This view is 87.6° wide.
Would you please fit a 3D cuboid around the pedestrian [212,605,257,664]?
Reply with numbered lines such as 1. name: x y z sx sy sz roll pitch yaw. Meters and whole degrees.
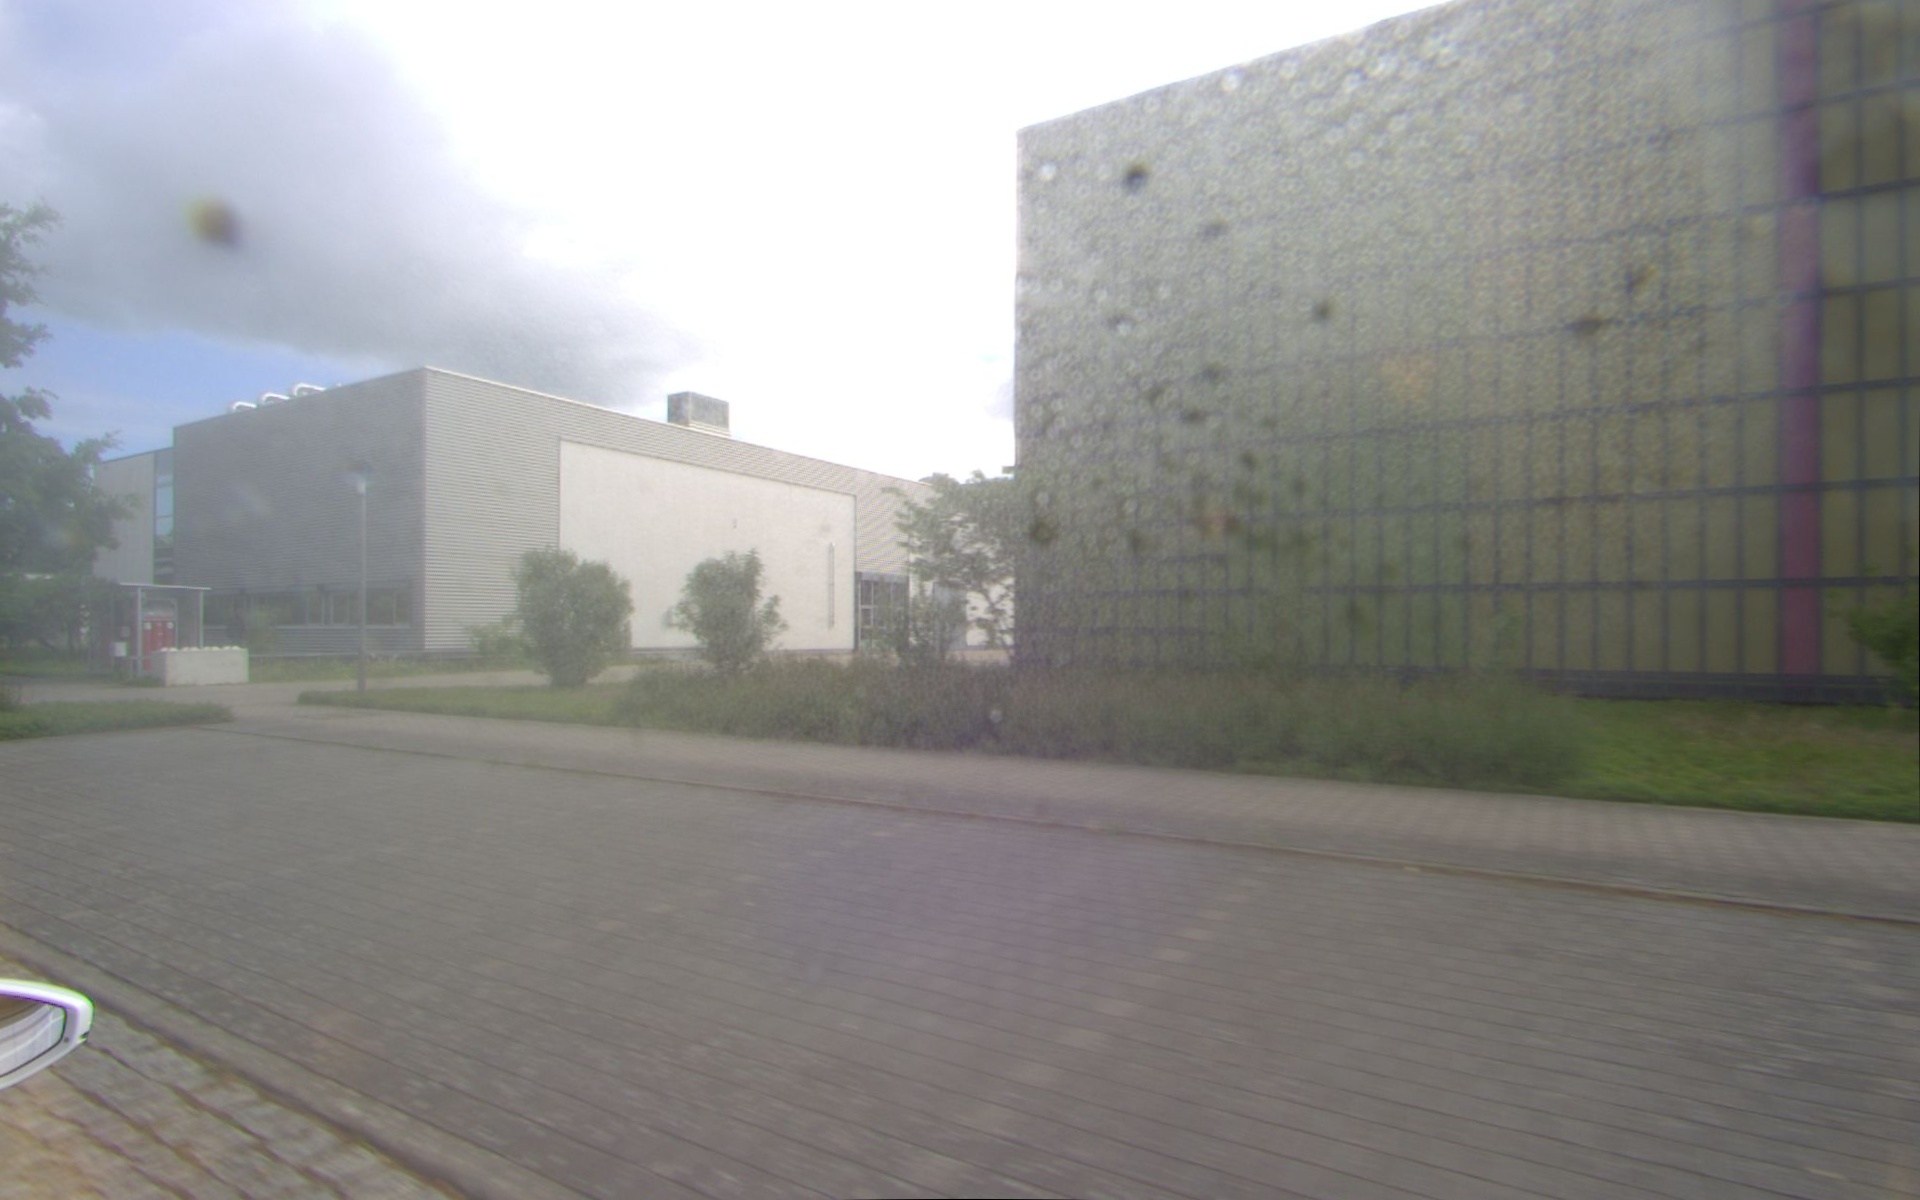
1. pedestrian: -24.532 1.176 33.866 0.838 1.961 0.920 0 -1 2
